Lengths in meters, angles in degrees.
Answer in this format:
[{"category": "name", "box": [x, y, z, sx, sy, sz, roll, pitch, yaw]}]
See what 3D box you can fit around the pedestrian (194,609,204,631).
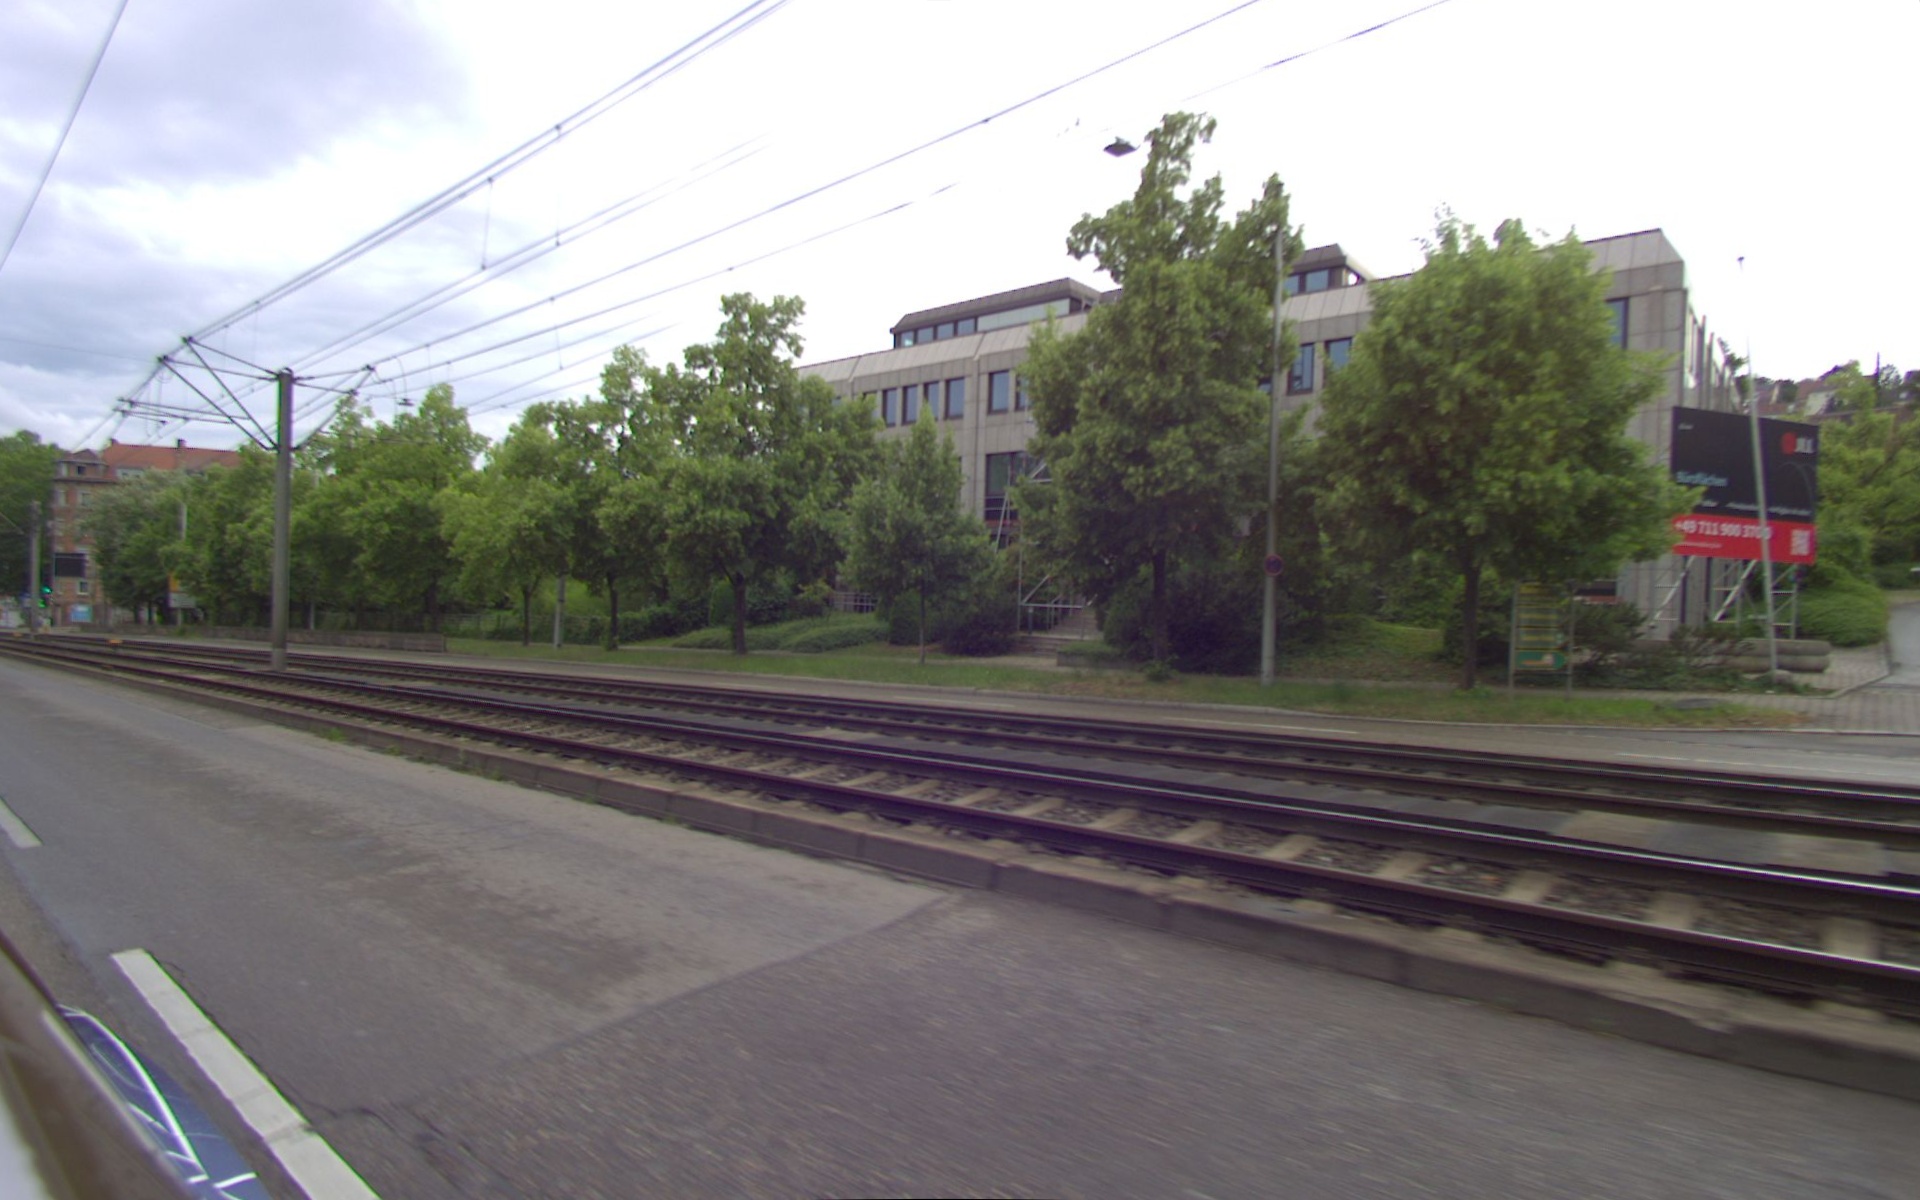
[{"category": "pedestrian", "box": [-68.333, 1.803, 90.837, 0.653, 1.917, 0.590, -1, -1, 38]}]
